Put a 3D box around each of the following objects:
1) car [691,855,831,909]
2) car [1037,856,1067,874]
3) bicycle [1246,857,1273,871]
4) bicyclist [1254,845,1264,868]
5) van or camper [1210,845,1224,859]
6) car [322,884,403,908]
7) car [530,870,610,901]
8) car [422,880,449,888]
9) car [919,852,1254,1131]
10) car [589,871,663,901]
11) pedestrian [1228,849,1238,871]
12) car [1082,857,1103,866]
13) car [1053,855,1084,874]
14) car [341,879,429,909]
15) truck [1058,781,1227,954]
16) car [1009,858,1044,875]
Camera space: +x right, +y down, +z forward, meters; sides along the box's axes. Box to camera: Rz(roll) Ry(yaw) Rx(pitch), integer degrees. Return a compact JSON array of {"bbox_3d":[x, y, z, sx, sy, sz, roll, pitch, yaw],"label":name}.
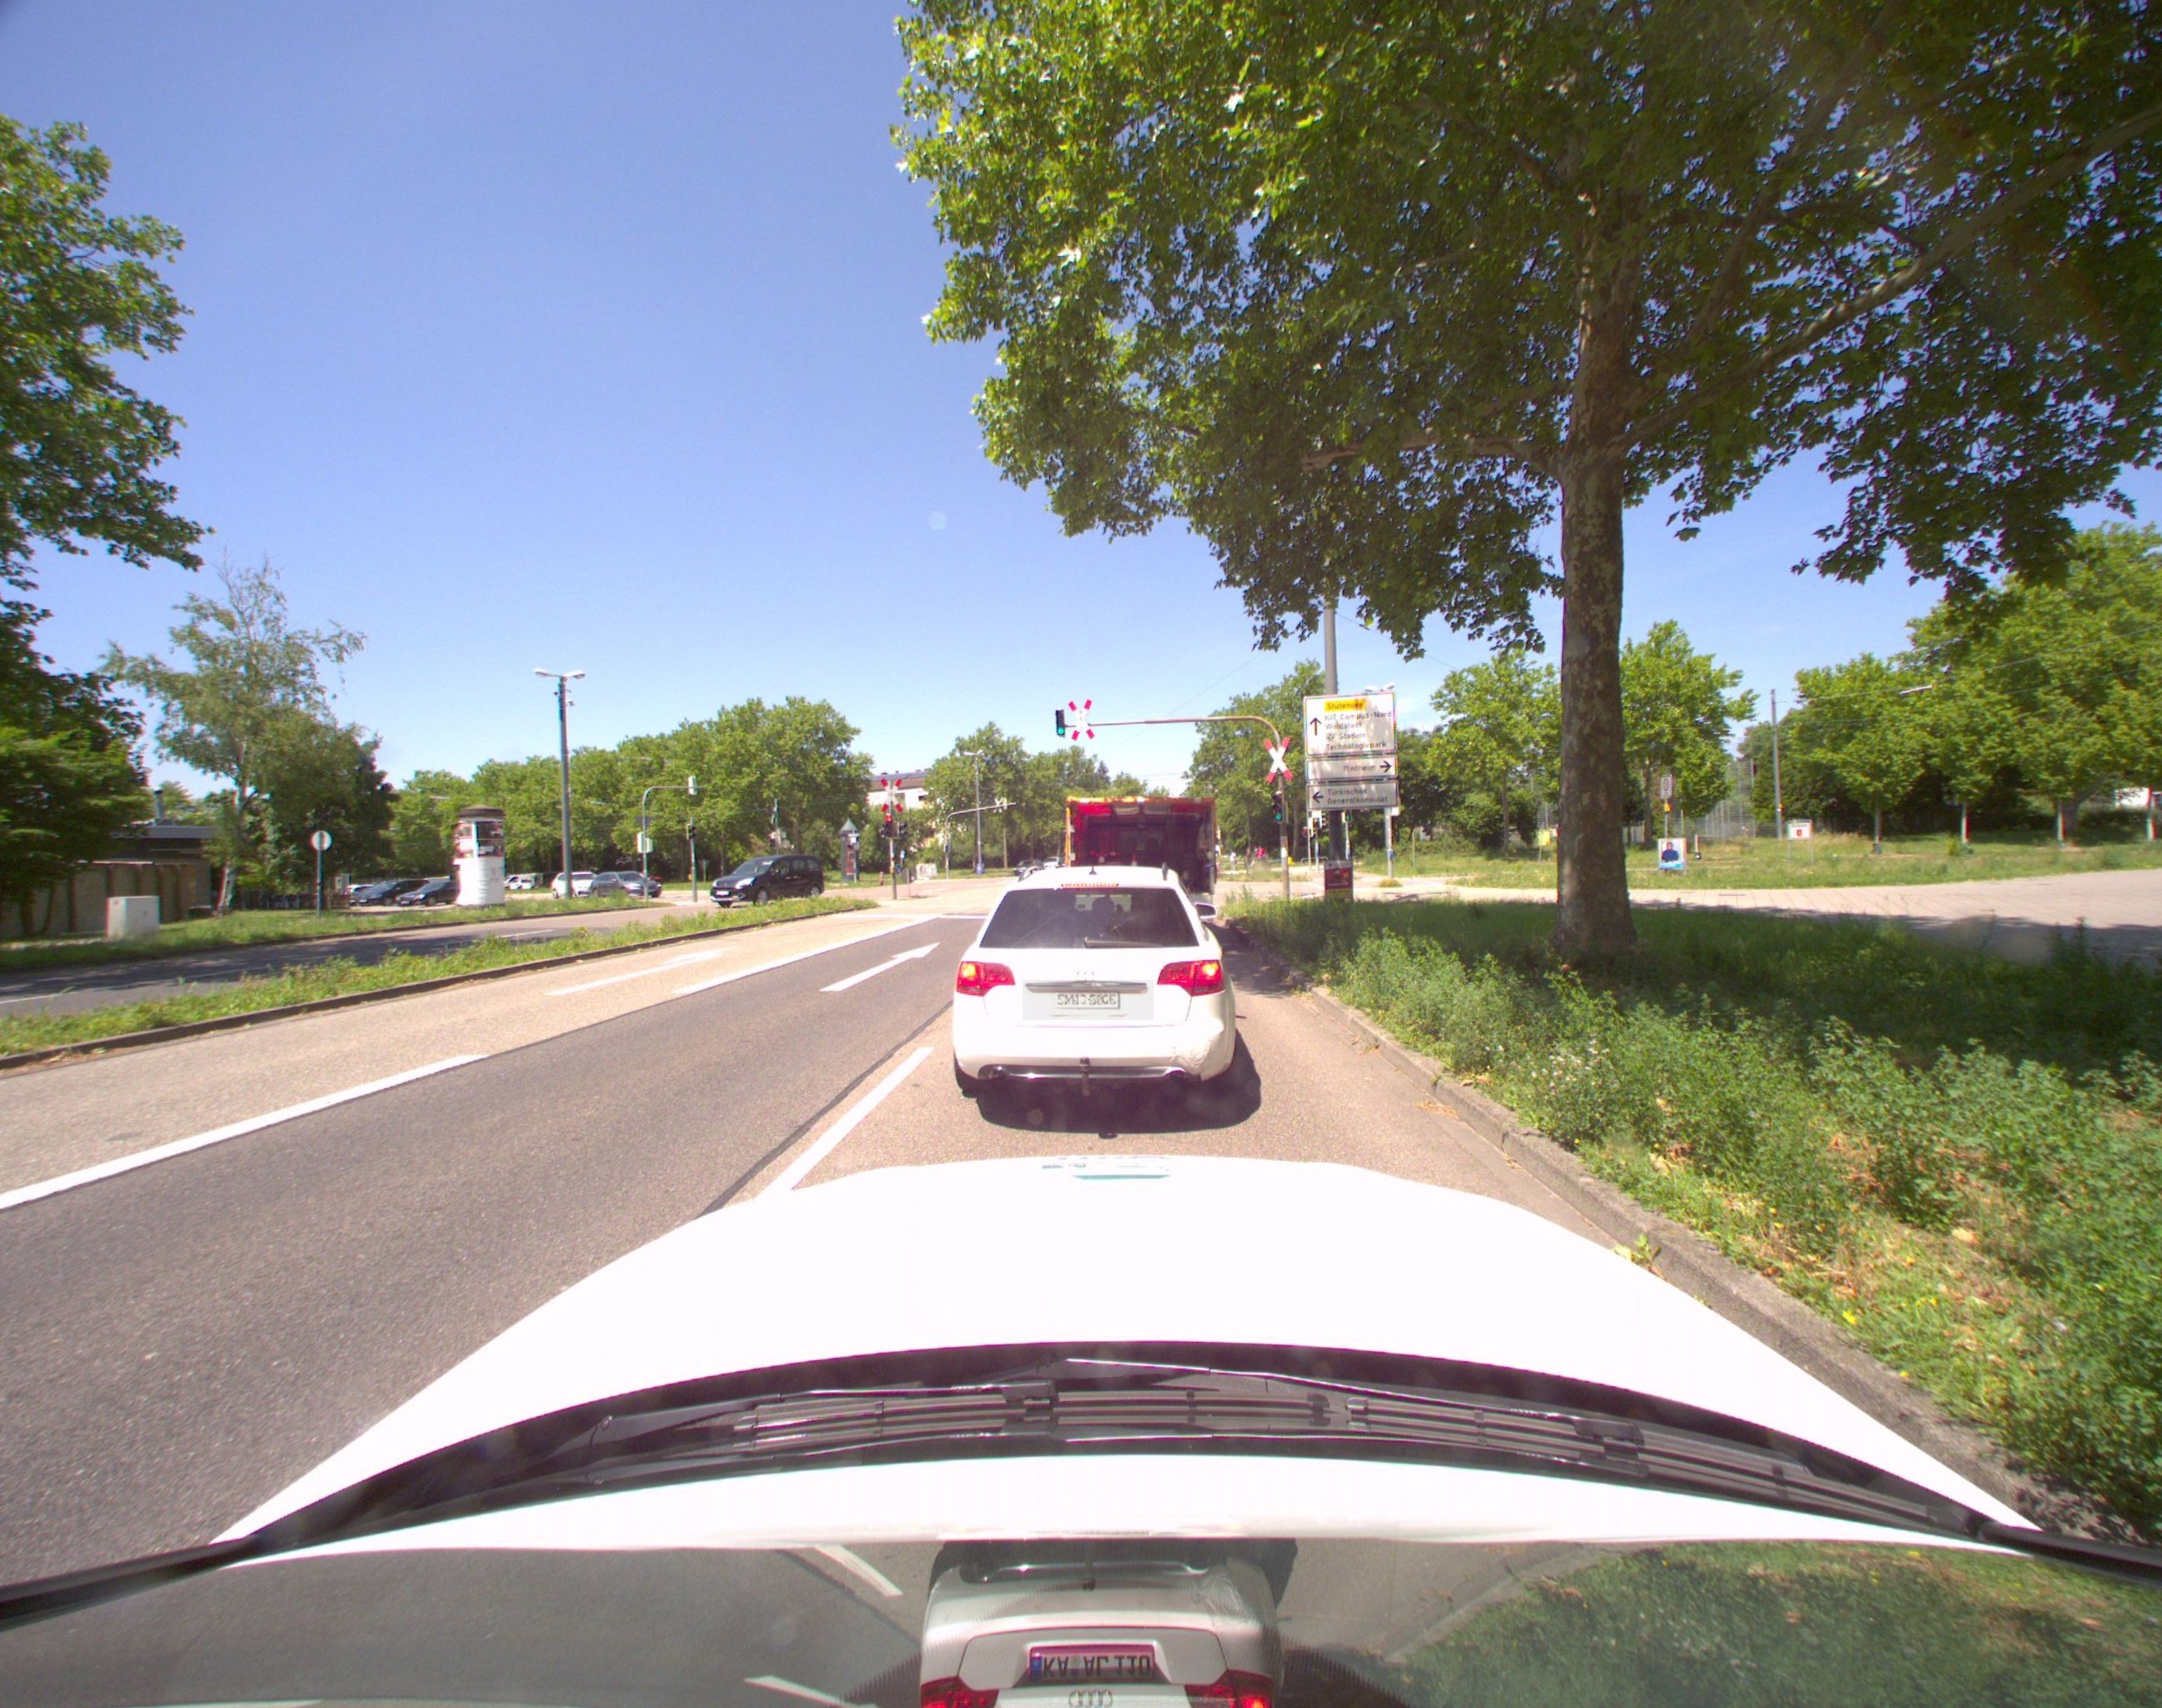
[{"bbox_3d":[-11.237,0.936,28.962,1.894,1.679,4.470,-2,0,26],"label":"car"},{"bbox_3d":[-2.820,1.074,80.968,1.774,1.615,4.421,-2,0,14],"label":"car"},{"bbox_3d":[12.197,0.661,55.664,1.794,0.896,0.591,-2,-1,11],"label":"bicycle"},{"bbox_3d":[12.172,0.157,55.674,0.667,1.556,0.581,-2,-1,11],"label":"bicyclist"},{"bbox_3d":[33.535,-0.520,200.769,2.640,3.331,5.524,-2,0,16],"label":"van or camper"},{"bbox_3d":[-51.828,3.025,58.857,1.930,1.423,4.070,-2,0,8],"label":"car"},{"bbox_3d":[-29.407,1.813,46.861,4.403,1.604,2.231,-2,0,34],"label":"car"},{"bbox_3d":[-88.137,4.108,111.244,0.996,0.994,2.738,-2,0,31],"label":"car"},{"bbox_3d":[0.205,0.723,6.099,1.754,1.445,3.622,-1,0,6],"label":"car"},{"bbox_3d":[-24.072,1.694,43.067,3.941,1.457,1.776,-2,0,34],"label":"car"},{"bbox_3d":[10.829,0.429,58.086,0.548,1.484,0.632,-2,0,18],"label":"pedestrian"},{"bbox_3d":[2.012,1.260,139.387,1.864,1.393,4.025,-2,0,28],"label":"car"},{"bbox_3d":[-1.126,0.923,74.330,1.897,1.539,4.312,-2,0,11],"label":"car"},{"bbox_3d":[-44.814,2.554,52.575,1.769,1.651,4.201,-2,0,6],"label":"car"},{"bbox_3d":[1.242,0.234,15.917,2.499,2.559,7.613,0,0,5],"label":"truck"},{"bbox_3d":[-4.849,1.109,73.698,1.936,1.440,4.762,-1,0,11],"label":"car"}]
